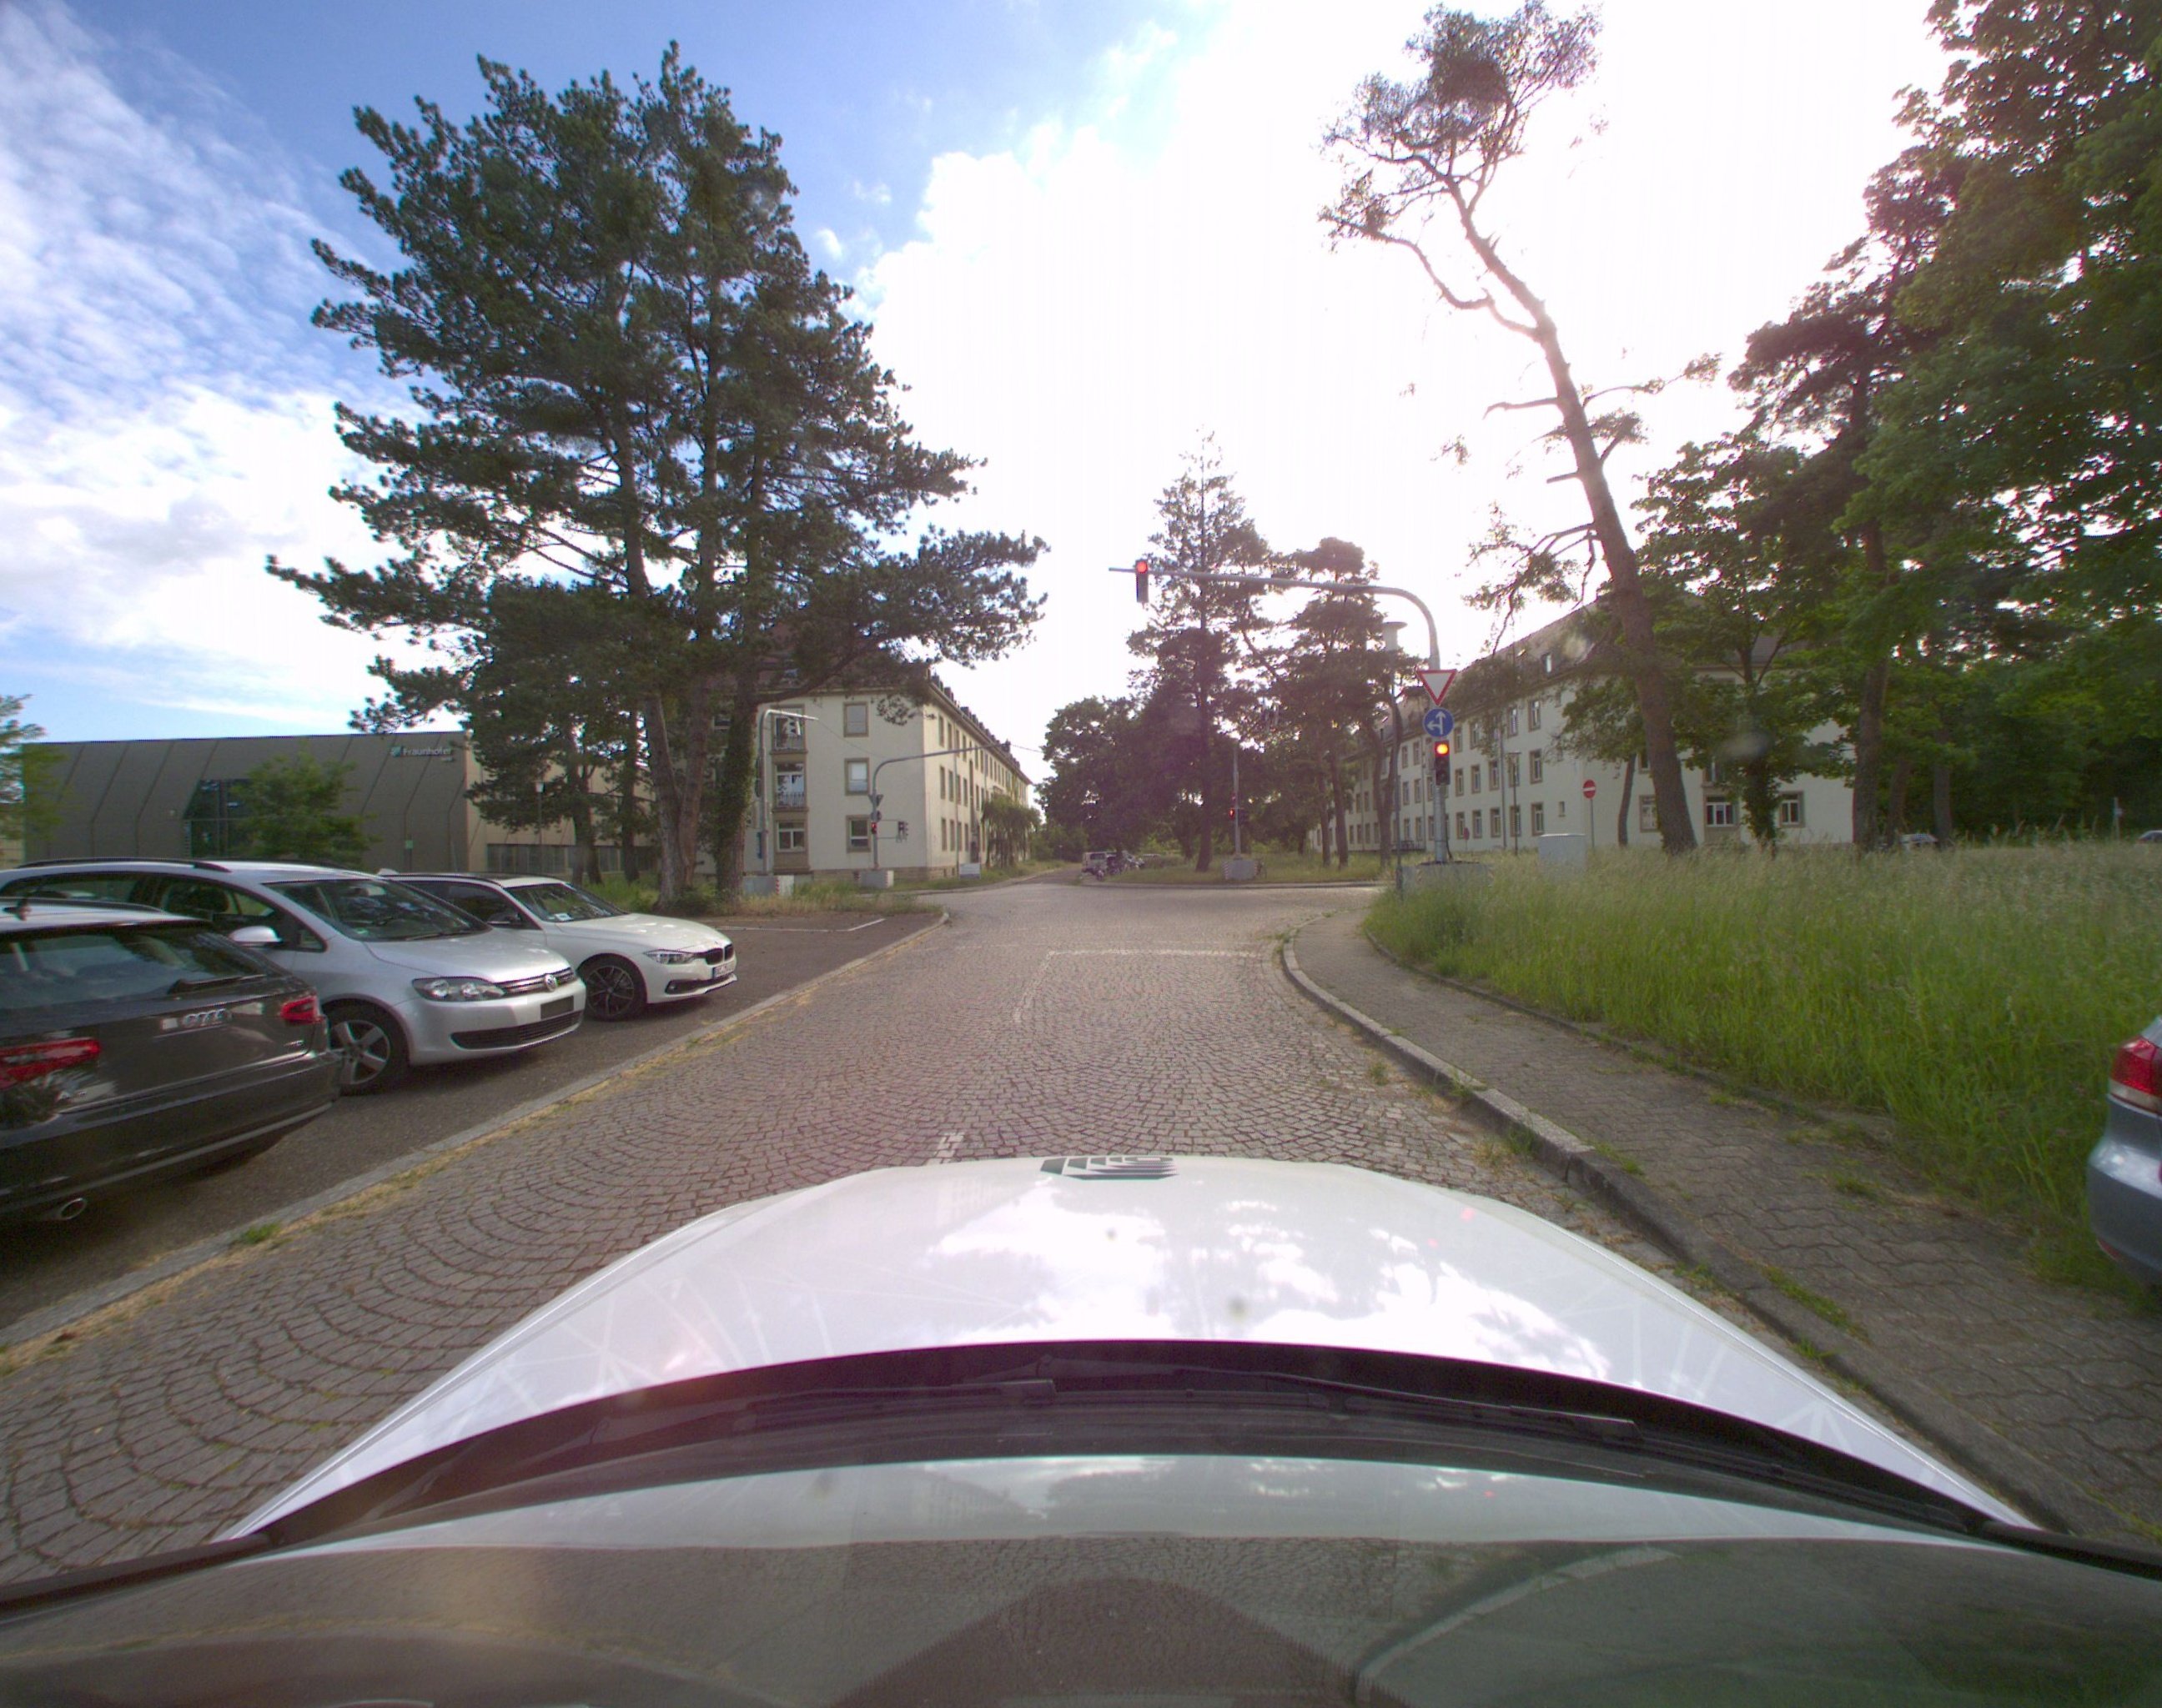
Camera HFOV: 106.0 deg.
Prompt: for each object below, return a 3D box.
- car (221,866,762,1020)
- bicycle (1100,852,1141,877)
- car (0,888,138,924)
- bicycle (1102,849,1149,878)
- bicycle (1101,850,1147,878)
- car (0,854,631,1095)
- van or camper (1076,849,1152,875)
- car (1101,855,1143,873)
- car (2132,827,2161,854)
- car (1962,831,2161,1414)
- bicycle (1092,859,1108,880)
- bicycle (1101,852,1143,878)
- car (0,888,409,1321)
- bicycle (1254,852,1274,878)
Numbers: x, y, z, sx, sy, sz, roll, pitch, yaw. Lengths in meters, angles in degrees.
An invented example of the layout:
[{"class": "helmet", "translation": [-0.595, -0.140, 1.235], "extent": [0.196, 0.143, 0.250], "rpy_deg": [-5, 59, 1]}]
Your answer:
[{"class": "car", "translation": [-6.110, 0.895, 8.907], "extent": [4.466, 1.442, 1.829], "rpy_deg": [1, 0, -2]}, {"class": "bicycle", "translation": [2.762, 0.738, 56.845], "extent": [2.764, 1.694, 1.121], "rpy_deg": [1, -1, 2]}, {"class": "car", "translation": [-47.459, 2.400, 38.061], "extent": [1.750, 1.414, 4.137], "rpy_deg": [-2, 0, 5]}, {"class": "bicycle", "translation": [2.732, 0.608, 50.745], "extent": [2.770, 1.694, 1.118], "rpy_deg": [-2, 0, -4]}, {"class": "bicycle", "translation": [2.745, 0.639, 51.939], "extent": [2.772, 1.694, 1.118], "rpy_deg": [-2, 0, -6]}, {"class": "car", "translation": [-5.953, 0.824, 6.387], "extent": [3.820, 1.607, 1.735], "rpy_deg": [1, 0, -2]}, {"class": "van or camper", "translation": [2.758, 0.686, 68.725], "extent": [6.037, 1.949, 1.992], "rpy_deg": [-2, 0, -12]}, {"class": "car", "translation": [3.276, 0.778, 65.134], "extent": [3.132, 1.354, 1.617], "rpy_deg": [-2, 0, -5]}, {"class": "car", "translation": [58.552, -0.694, 43.030], "extent": [3.972, 1.398, 1.564], "rpy_deg": [1, 0, 1]}, {"class": "car", "translation": [4.619, 0.612, 1.647], "extent": [3.828, 1.471, 1.642], "rpy_deg": [-2, 0, 1]}, {"class": "bicycle", "translation": [1.109, 0.854, 46.494], "extent": [0.722, 1.107, 2.464], "rpy_deg": [-6, -1, 3]}, {"class": "bicycle", "translation": [2.804, 0.747, 55.505], "extent": [2.762, 1.694, 1.122], "rpy_deg": [1, -1, 5]}, {"class": "car", "translation": [-5.672, 0.895, 3.654], "extent": [3.824, 1.408, 1.695], "rpy_deg": [1, 0, -1]}, {"class": "bicycle", "translation": [8.690, 0.506, 38.820], "extent": [0.720, 1.169, 2.743], "rpy_deg": [0, 0, 8]}]
